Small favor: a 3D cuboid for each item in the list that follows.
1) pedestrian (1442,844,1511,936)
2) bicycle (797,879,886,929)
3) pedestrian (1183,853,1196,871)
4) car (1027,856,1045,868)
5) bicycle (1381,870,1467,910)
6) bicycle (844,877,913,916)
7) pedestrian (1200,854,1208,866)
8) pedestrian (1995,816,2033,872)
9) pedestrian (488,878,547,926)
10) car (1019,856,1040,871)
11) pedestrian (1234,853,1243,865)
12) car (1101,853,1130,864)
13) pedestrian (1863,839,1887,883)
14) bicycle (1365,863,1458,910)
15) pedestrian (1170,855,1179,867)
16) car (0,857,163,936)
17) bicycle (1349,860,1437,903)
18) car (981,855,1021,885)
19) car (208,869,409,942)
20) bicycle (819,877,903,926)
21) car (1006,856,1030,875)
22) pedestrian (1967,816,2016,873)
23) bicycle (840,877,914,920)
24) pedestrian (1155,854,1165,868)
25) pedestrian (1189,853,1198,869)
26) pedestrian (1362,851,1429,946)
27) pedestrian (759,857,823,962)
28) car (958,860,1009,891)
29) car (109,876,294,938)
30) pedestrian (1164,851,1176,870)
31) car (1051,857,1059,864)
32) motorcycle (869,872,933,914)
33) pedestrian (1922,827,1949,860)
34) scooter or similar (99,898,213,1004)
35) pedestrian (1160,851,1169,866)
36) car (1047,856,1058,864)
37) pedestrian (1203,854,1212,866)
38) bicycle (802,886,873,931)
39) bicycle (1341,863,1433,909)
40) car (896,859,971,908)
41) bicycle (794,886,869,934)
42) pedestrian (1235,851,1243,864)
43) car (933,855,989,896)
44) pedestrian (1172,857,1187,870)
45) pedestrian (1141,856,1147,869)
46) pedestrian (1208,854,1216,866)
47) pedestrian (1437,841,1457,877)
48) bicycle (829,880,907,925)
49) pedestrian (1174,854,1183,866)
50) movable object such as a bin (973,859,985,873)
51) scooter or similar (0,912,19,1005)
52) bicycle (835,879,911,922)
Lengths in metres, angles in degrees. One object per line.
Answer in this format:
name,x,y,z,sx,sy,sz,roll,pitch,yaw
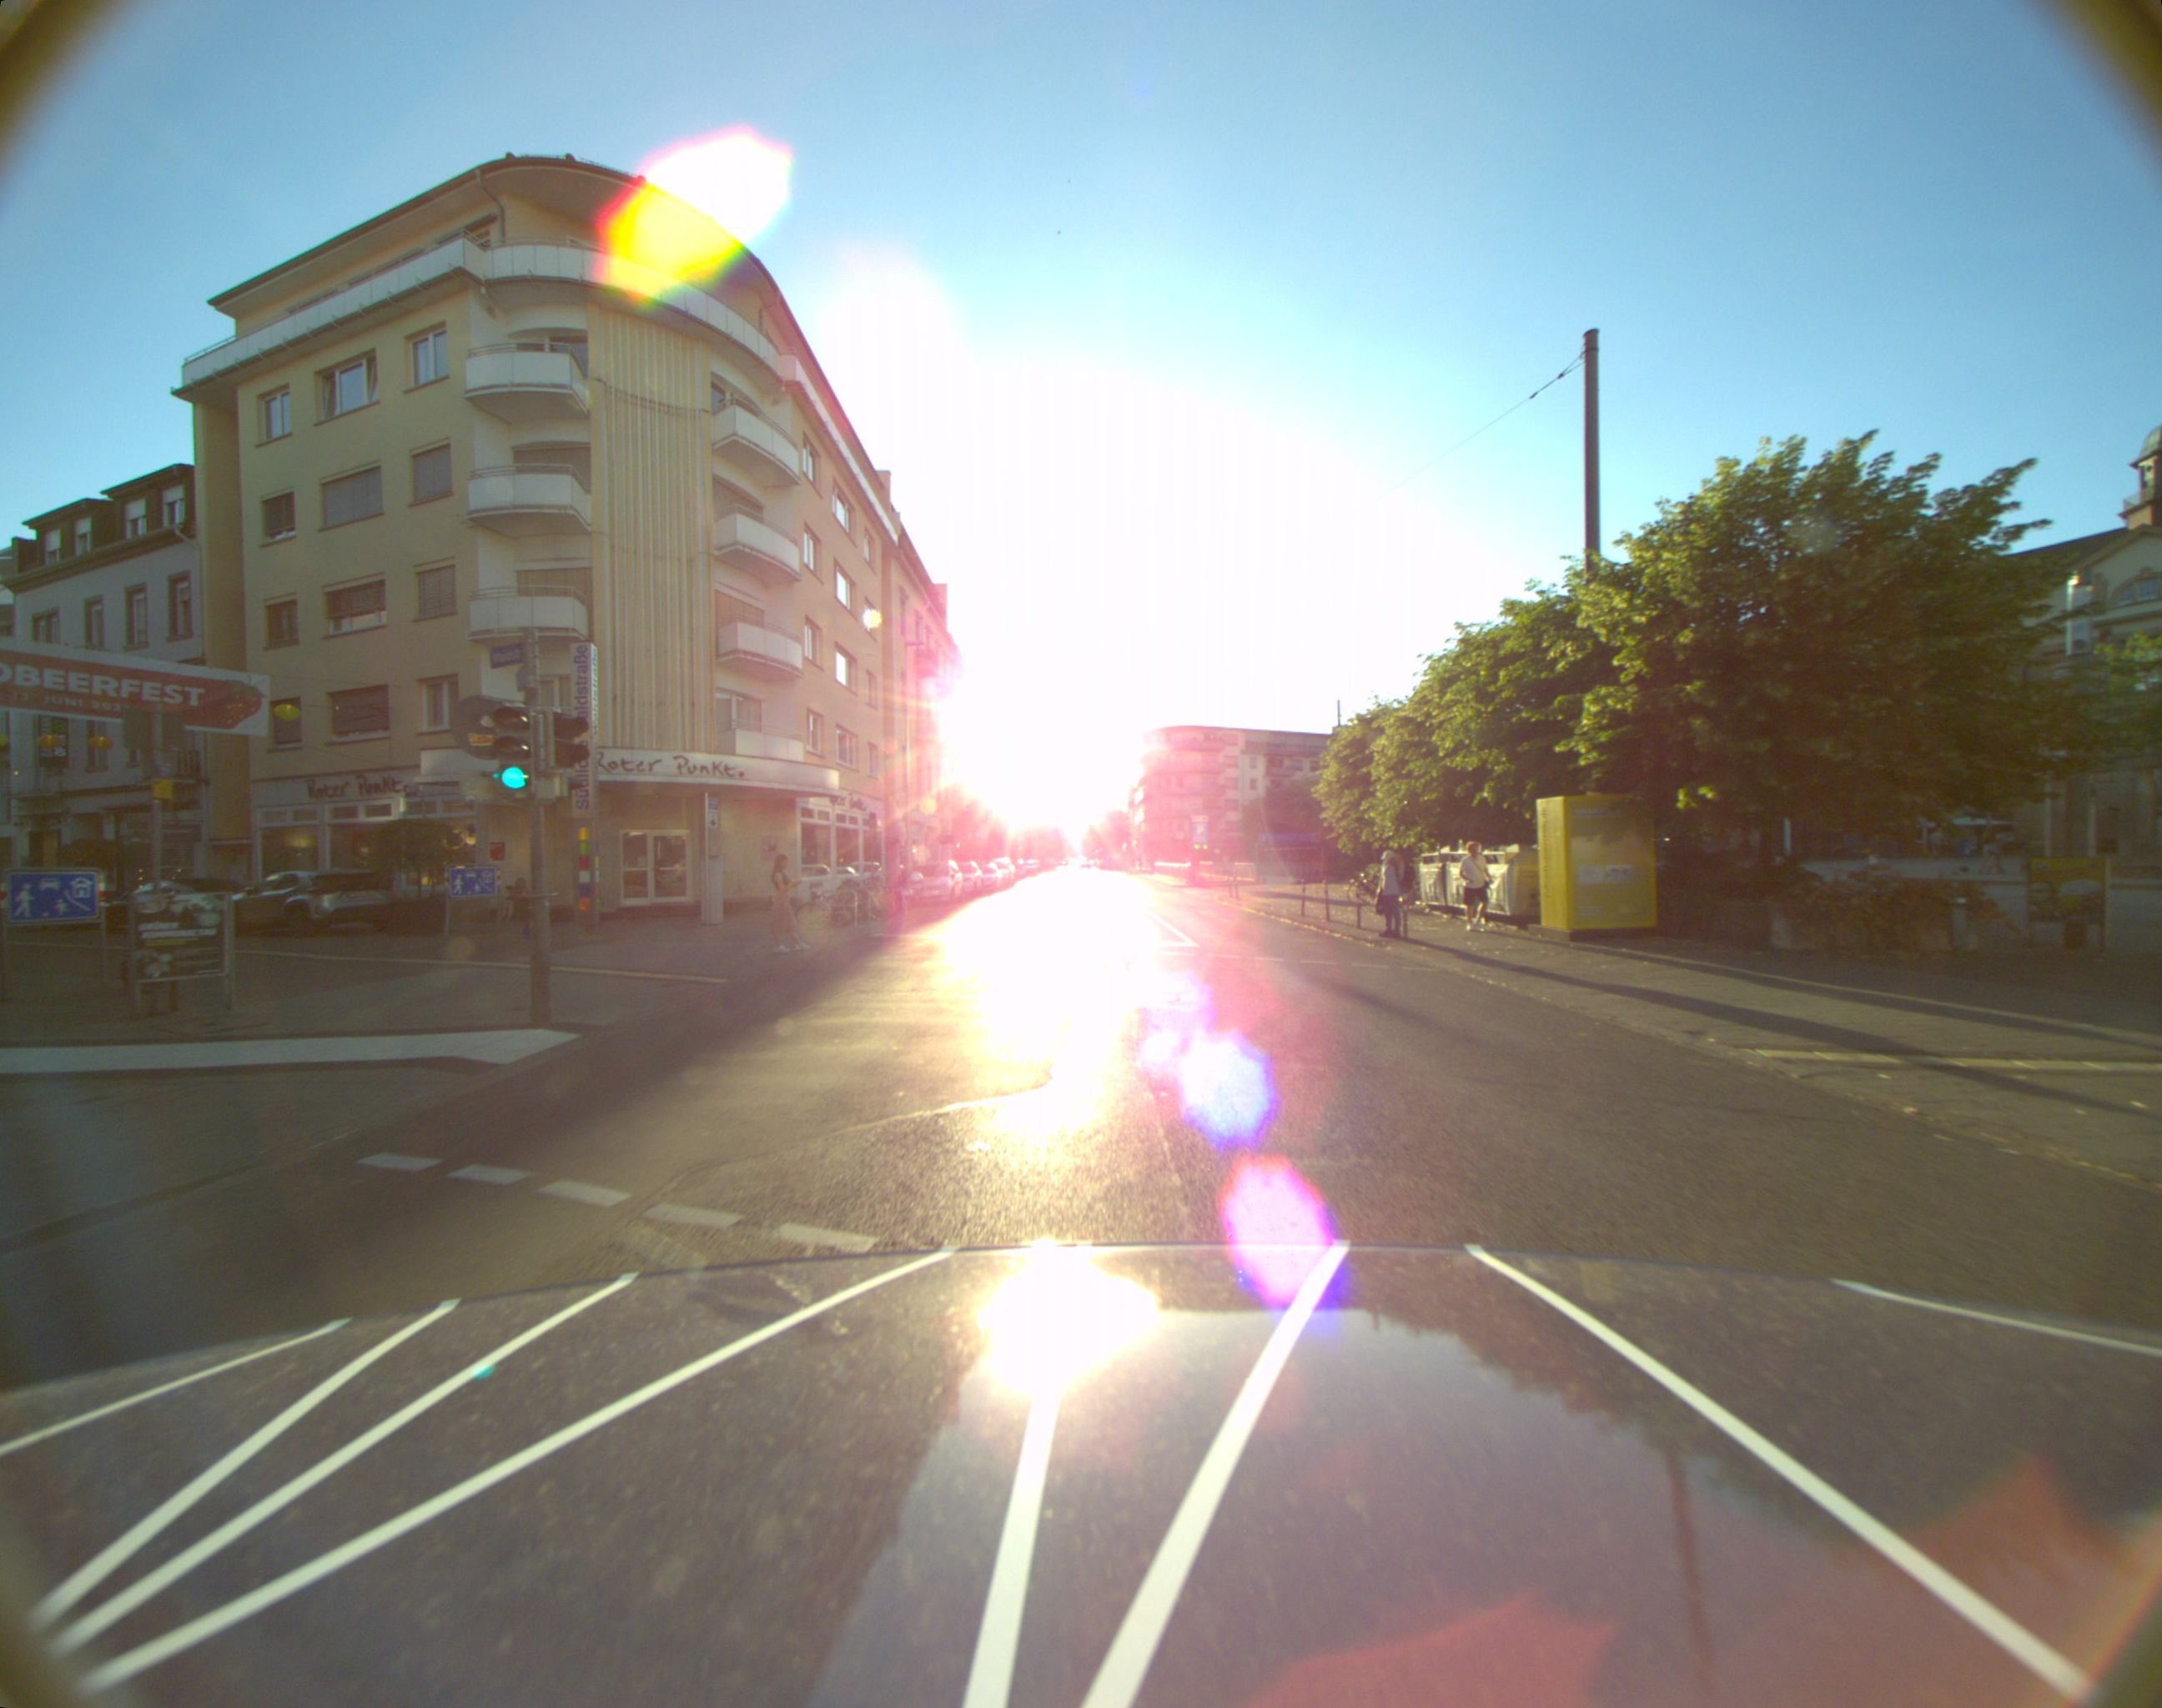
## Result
pedestrian,7.642,0.677,14.690,0.872,1.710,0.758,-2,0,-16
bicycle,-5.754,1.202,18.359,1.889,1.106,0.762,-1,0,-3
pedestrian,11.051,0.824,77.401,0.982,1.783,0.892,-2,-1,39
car,-5.803,1.043,98.799,1.998,1.511,4.000,0,-1,1
bicycle,9.447,0.976,20.941,2.048,0.965,0.636,-3,0,-2
bicycle,-6.000,1.254,22.609,1.889,1.106,0.593,0,0,-3
pedestrian,15.525,0.752,95.727,0.655,1.527,0.674,-1,3,-26
pedestrian,32.518,-0.335,26.490,0.732,1.936,0.802,-1,1,-40
pedestrian,-14.824,1.249,20.019,0.730,1.167,1.181,-1,0,-7
car,-5.376,1.027,80.084,1.999,1.526,4.682,-1,-1,-1
pedestrian,20.235,0.692,97.757,0.851,1.526,0.716,-2,-1,44
car,5.340,0.686,119.036,4.442,1.532,1.817,-1,0,-2
pedestrian,29.751,0.254,28.462,0.806,1.601,0.524,-2,1,-38
bicycle,9.354,0.912,21.527,2.437,1.230,0.462,-1,0,-2
pedestrian,11.456,0.845,92.972,0.768,1.374,0.841,0,2,40
car,-29.478,1.205,22.313,3.991,2.133,2.003,-1,0,21
bicycle,9.702,0.854,23.718,2.506,1.276,0.817,-1,0,21
car,-4.833,0.996,46.468,1.887,1.734,4.660,-1,-1,0
car,-18.632,1.182,18.358,3.991,1.560,1.931,-1,0,21
bicycle,-5.525,1.186,19.168,1.889,1.160,0.723,-1,0,-3
car,-5.501,1.050,67.003,1.704,1.575,4.000,-1,-1,1
pedestrian,31.682,-0.321,26.447,0.804,1.936,0.731,-1,0,8
bicycle,-5.754,1.243,21.497,1.889,1.106,0.593,-1,2,-3
pedestrian,9.767,0.882,93.547,0.870,1.783,0.850,-1,-1,-22
pedestrian,13.335,0.792,89.939,0.853,1.865,0.713,-1,-1,-20
pedestrian,5.889,0.810,14.259,0.885,1.710,0.715,-1,0,-11
pedestrian,-4.915,0.911,12.914,0.797,1.710,0.811,-1,0,-7
car,-5.144,1.149,40.688,2.021,1.534,4.870,-1,-1,1
car,-23.489,1.365,20.311,3.991,1.448,1.952,-1,0,21
pedestrian,8.983,0.683,76.699,0.891,1.872,0.983,-1,-1,-22
car,-5.830,1.462,170.834,1.756,1.543,4.286,-1,0,-1
motorcycle,-5.547,1.193,23.436,1.817,1.256,0.716,0,0,-2
pedestrian,51.160,-0.627,45.494,0.805,1.936,0.730,-1,0,-12
scooter or similar,-11.868,1.209,9.747,1.318,1.257,0.524,-1,1,22
pedestrian,10.067,0.593,91.832,0.737,1.783,0.811,-1,-1,-22
car,-5.421,1.117,145.914,1.999,1.543,3.999,-1,0,-1
pedestrian,15.802,0.740,94.850,0.760,1.528,0.712,-1,4,-28
bicycle,-5.669,1.257,17.757,1.504,1.020,0.512,0,0,-4
bicycle,8.929,0.931,22.211,2.437,1.230,0.517,-3,1,-2
car,-5.470,1.043,28.821,1.999,1.603,4.803,-1,0,-1
bicycle,-5.662,1.273,17.269,1.504,1.009,0.512,-1,0,-2
pedestrian,20.784,0.423,99.917,0.669,1.710,0.717,-1,0,-25
car,-5.474,0.997,35.263,1.872,1.751,4.409,-1,-1,0
pedestrian,12.206,1.153,94.055,1.525,0.691,0.713,-38,11,-9
pedestrian,9.089,1.231,110.113,0.730,1.936,0.740,-1,0,-6
pedestrian,16.440,0.740,95.313,0.701,1.519,0.649,-1,4,-28
pedestrian,20.926,0.302,43.458,0.912,2.002,0.920,-1,0,23
bicycle,-5.625,1.269,20.122,1.889,1.106,0.601,-1,0,-3
pedestrian,12.154,0.722,94.794,0.712,1.526,0.855,-2,-1,31
movable object such as a bin,-8.610,1.000,64.097,0.868,1.179,1.398,-1,0,0
scooter or similar,-14.195,1.328,9.521,1.319,1.157,0.509,-1,1,12
bicycle,-5.646,1.254,20.662,1.889,1.106,0.521,-1,1,-3
